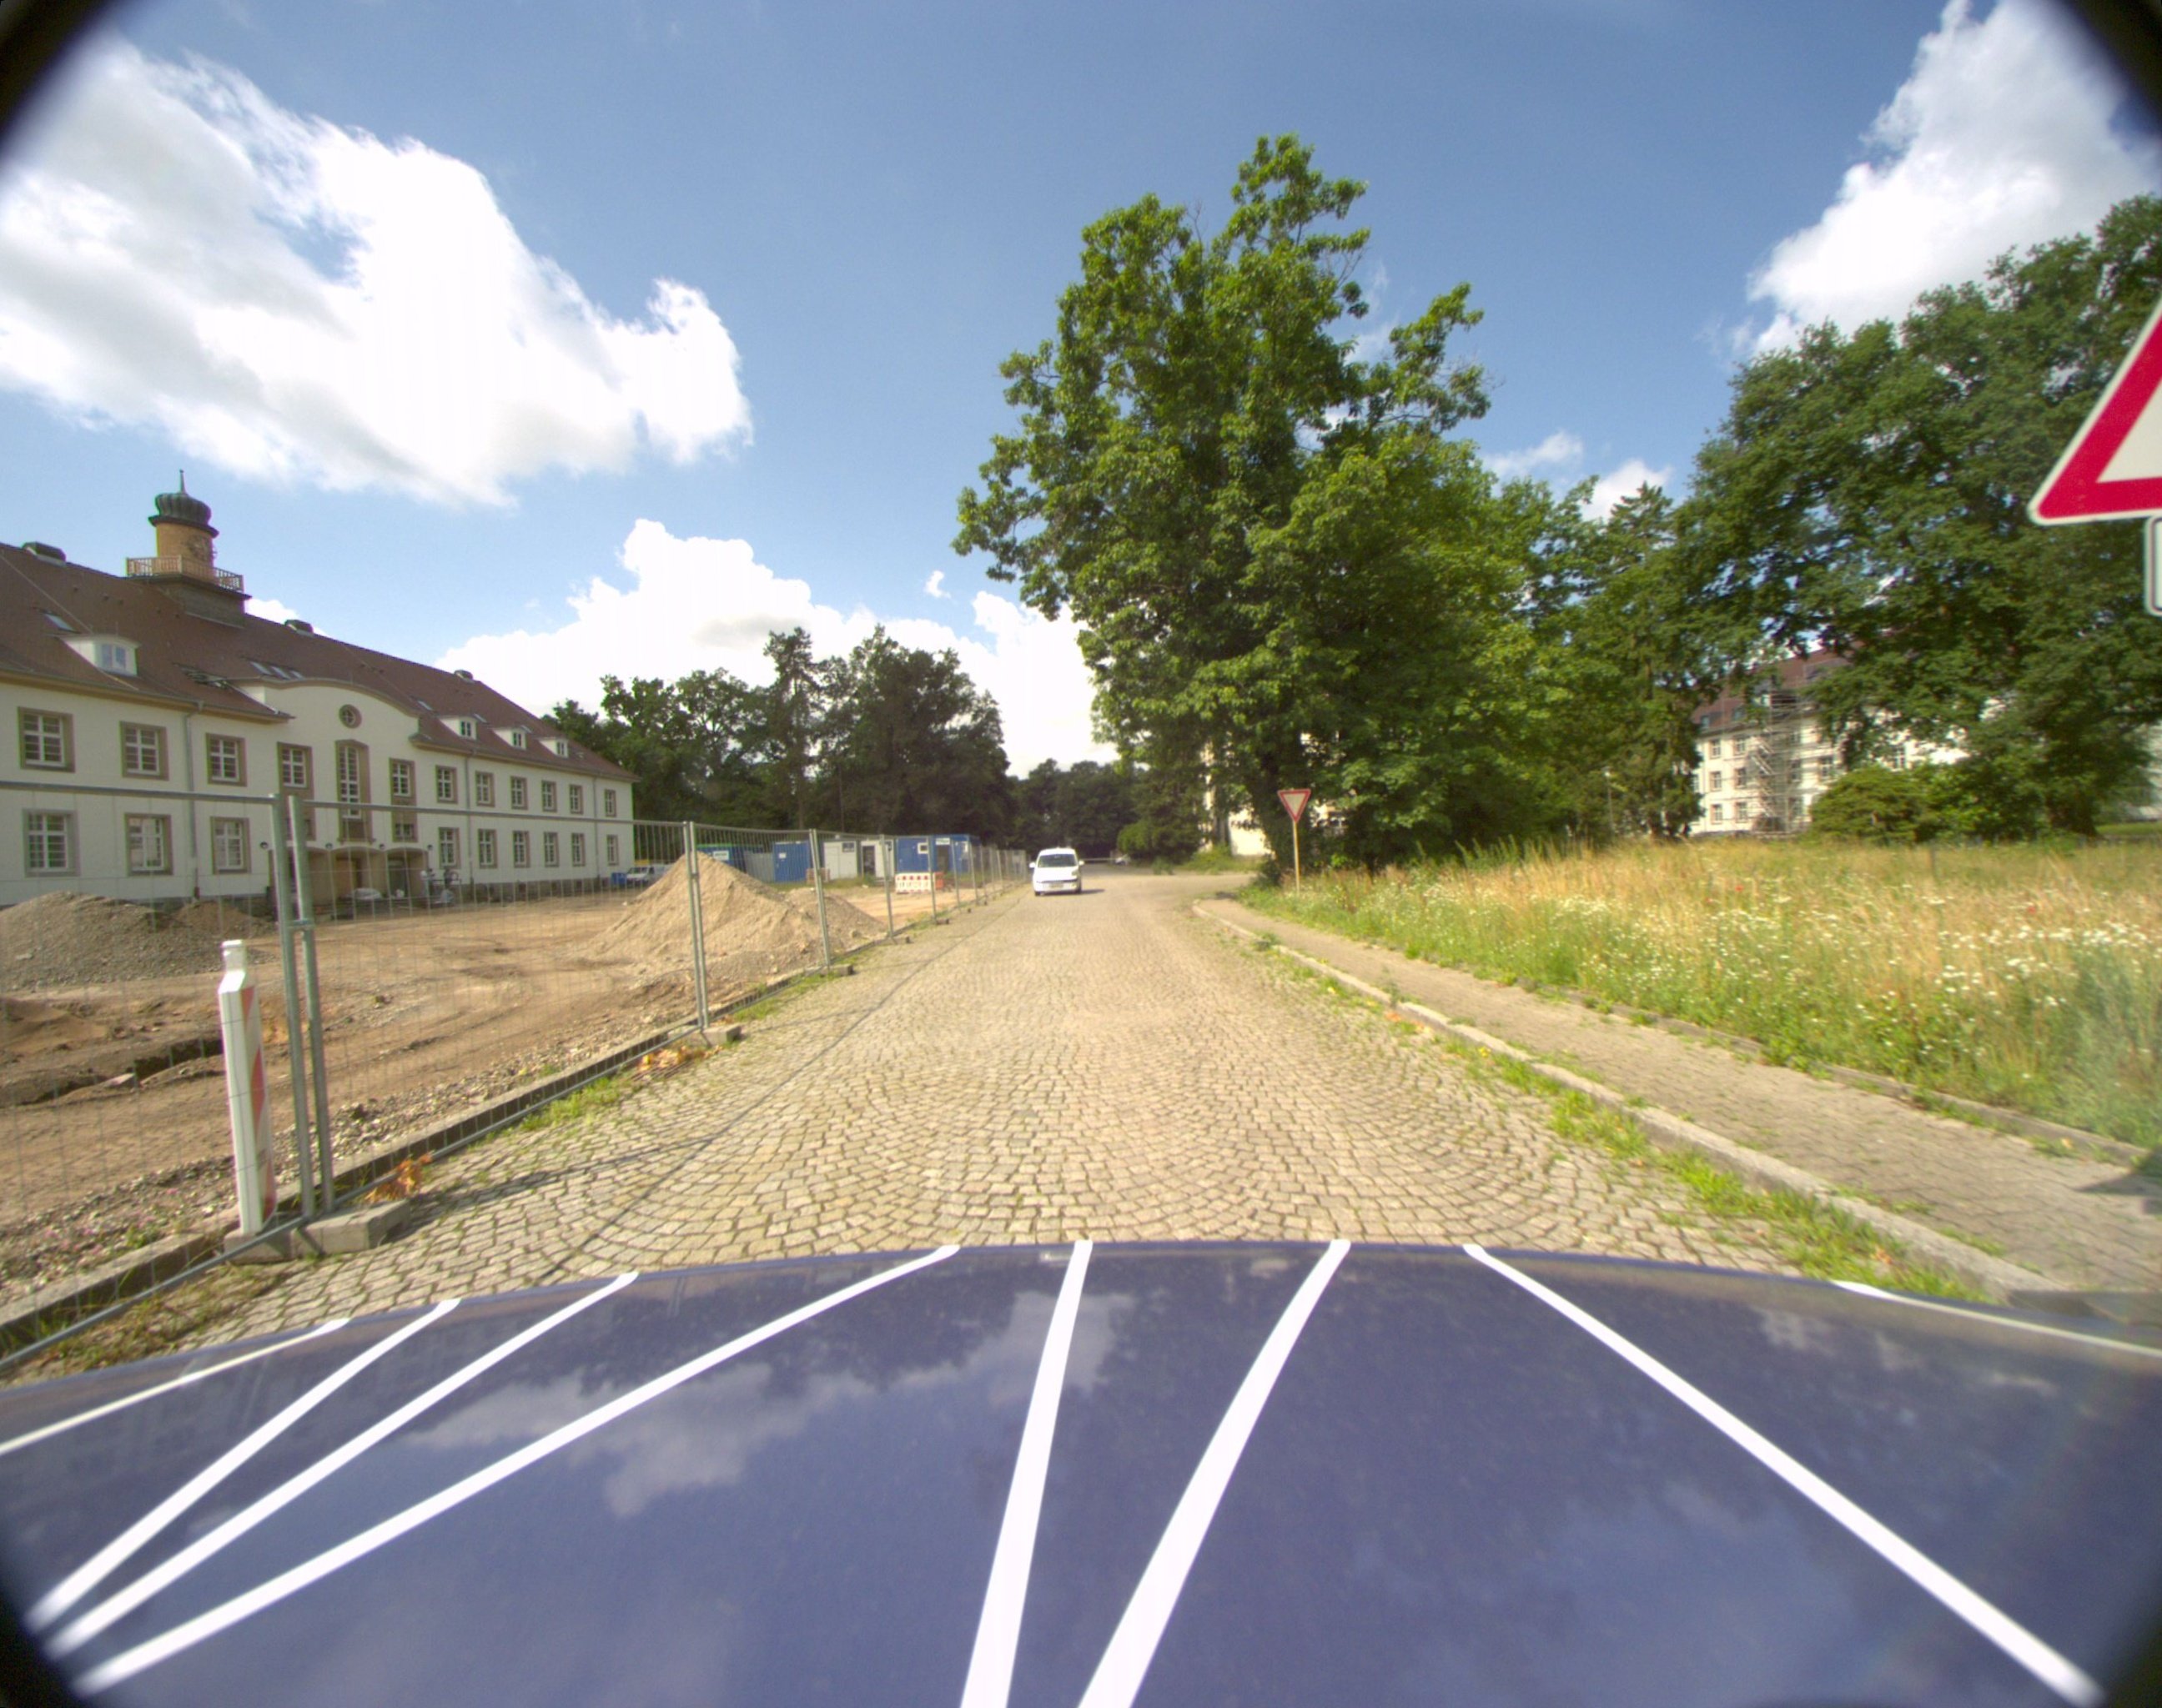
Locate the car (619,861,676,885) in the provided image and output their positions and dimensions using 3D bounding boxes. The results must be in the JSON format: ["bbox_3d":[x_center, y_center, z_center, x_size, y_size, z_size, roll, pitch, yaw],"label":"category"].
[{"bbox_3d":[-35.443,1.540,62.267,1.884,1.718,4.707,-2,1,1],"label":"car"}]

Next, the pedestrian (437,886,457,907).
[{"bbox_3d":[-35.582,2.377,42.651,0.491,1.108,0.709,-2,1,-2],"label":"pedestrian"}]

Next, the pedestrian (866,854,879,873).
[{"bbox_3d":[-14.077,0.618,51.305,0.602,1.235,0.682,-2,1,-1],"label":"pedestrian"}]

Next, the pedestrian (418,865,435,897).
[{"bbox_3d":[-36.922,1.506,42.882,0.490,1.777,0.507,-2,1,22],"label":"pedestrian"}]

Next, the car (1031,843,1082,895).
[{"bbox_3d":[-1.017,0.605,30.552,1.839,1.857,4.830,-2,-1,-3],"label":"car"}]

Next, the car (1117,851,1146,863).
[{"bbox_3d":[7.329,0.481,110.388,4.084,1.634,1.767,-2,1,-1],"label":"car"}]

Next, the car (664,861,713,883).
[{"bbox_3d":[-32.268,1.434,62.564,1.802,1.674,4.039,-2,1,1],"label":"car"}]

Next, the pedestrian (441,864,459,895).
[{"bbox_3d":[-36.820,1.492,44.339,0.491,1.777,0.506,-2,1,-3],"label":"pedestrian"}]
